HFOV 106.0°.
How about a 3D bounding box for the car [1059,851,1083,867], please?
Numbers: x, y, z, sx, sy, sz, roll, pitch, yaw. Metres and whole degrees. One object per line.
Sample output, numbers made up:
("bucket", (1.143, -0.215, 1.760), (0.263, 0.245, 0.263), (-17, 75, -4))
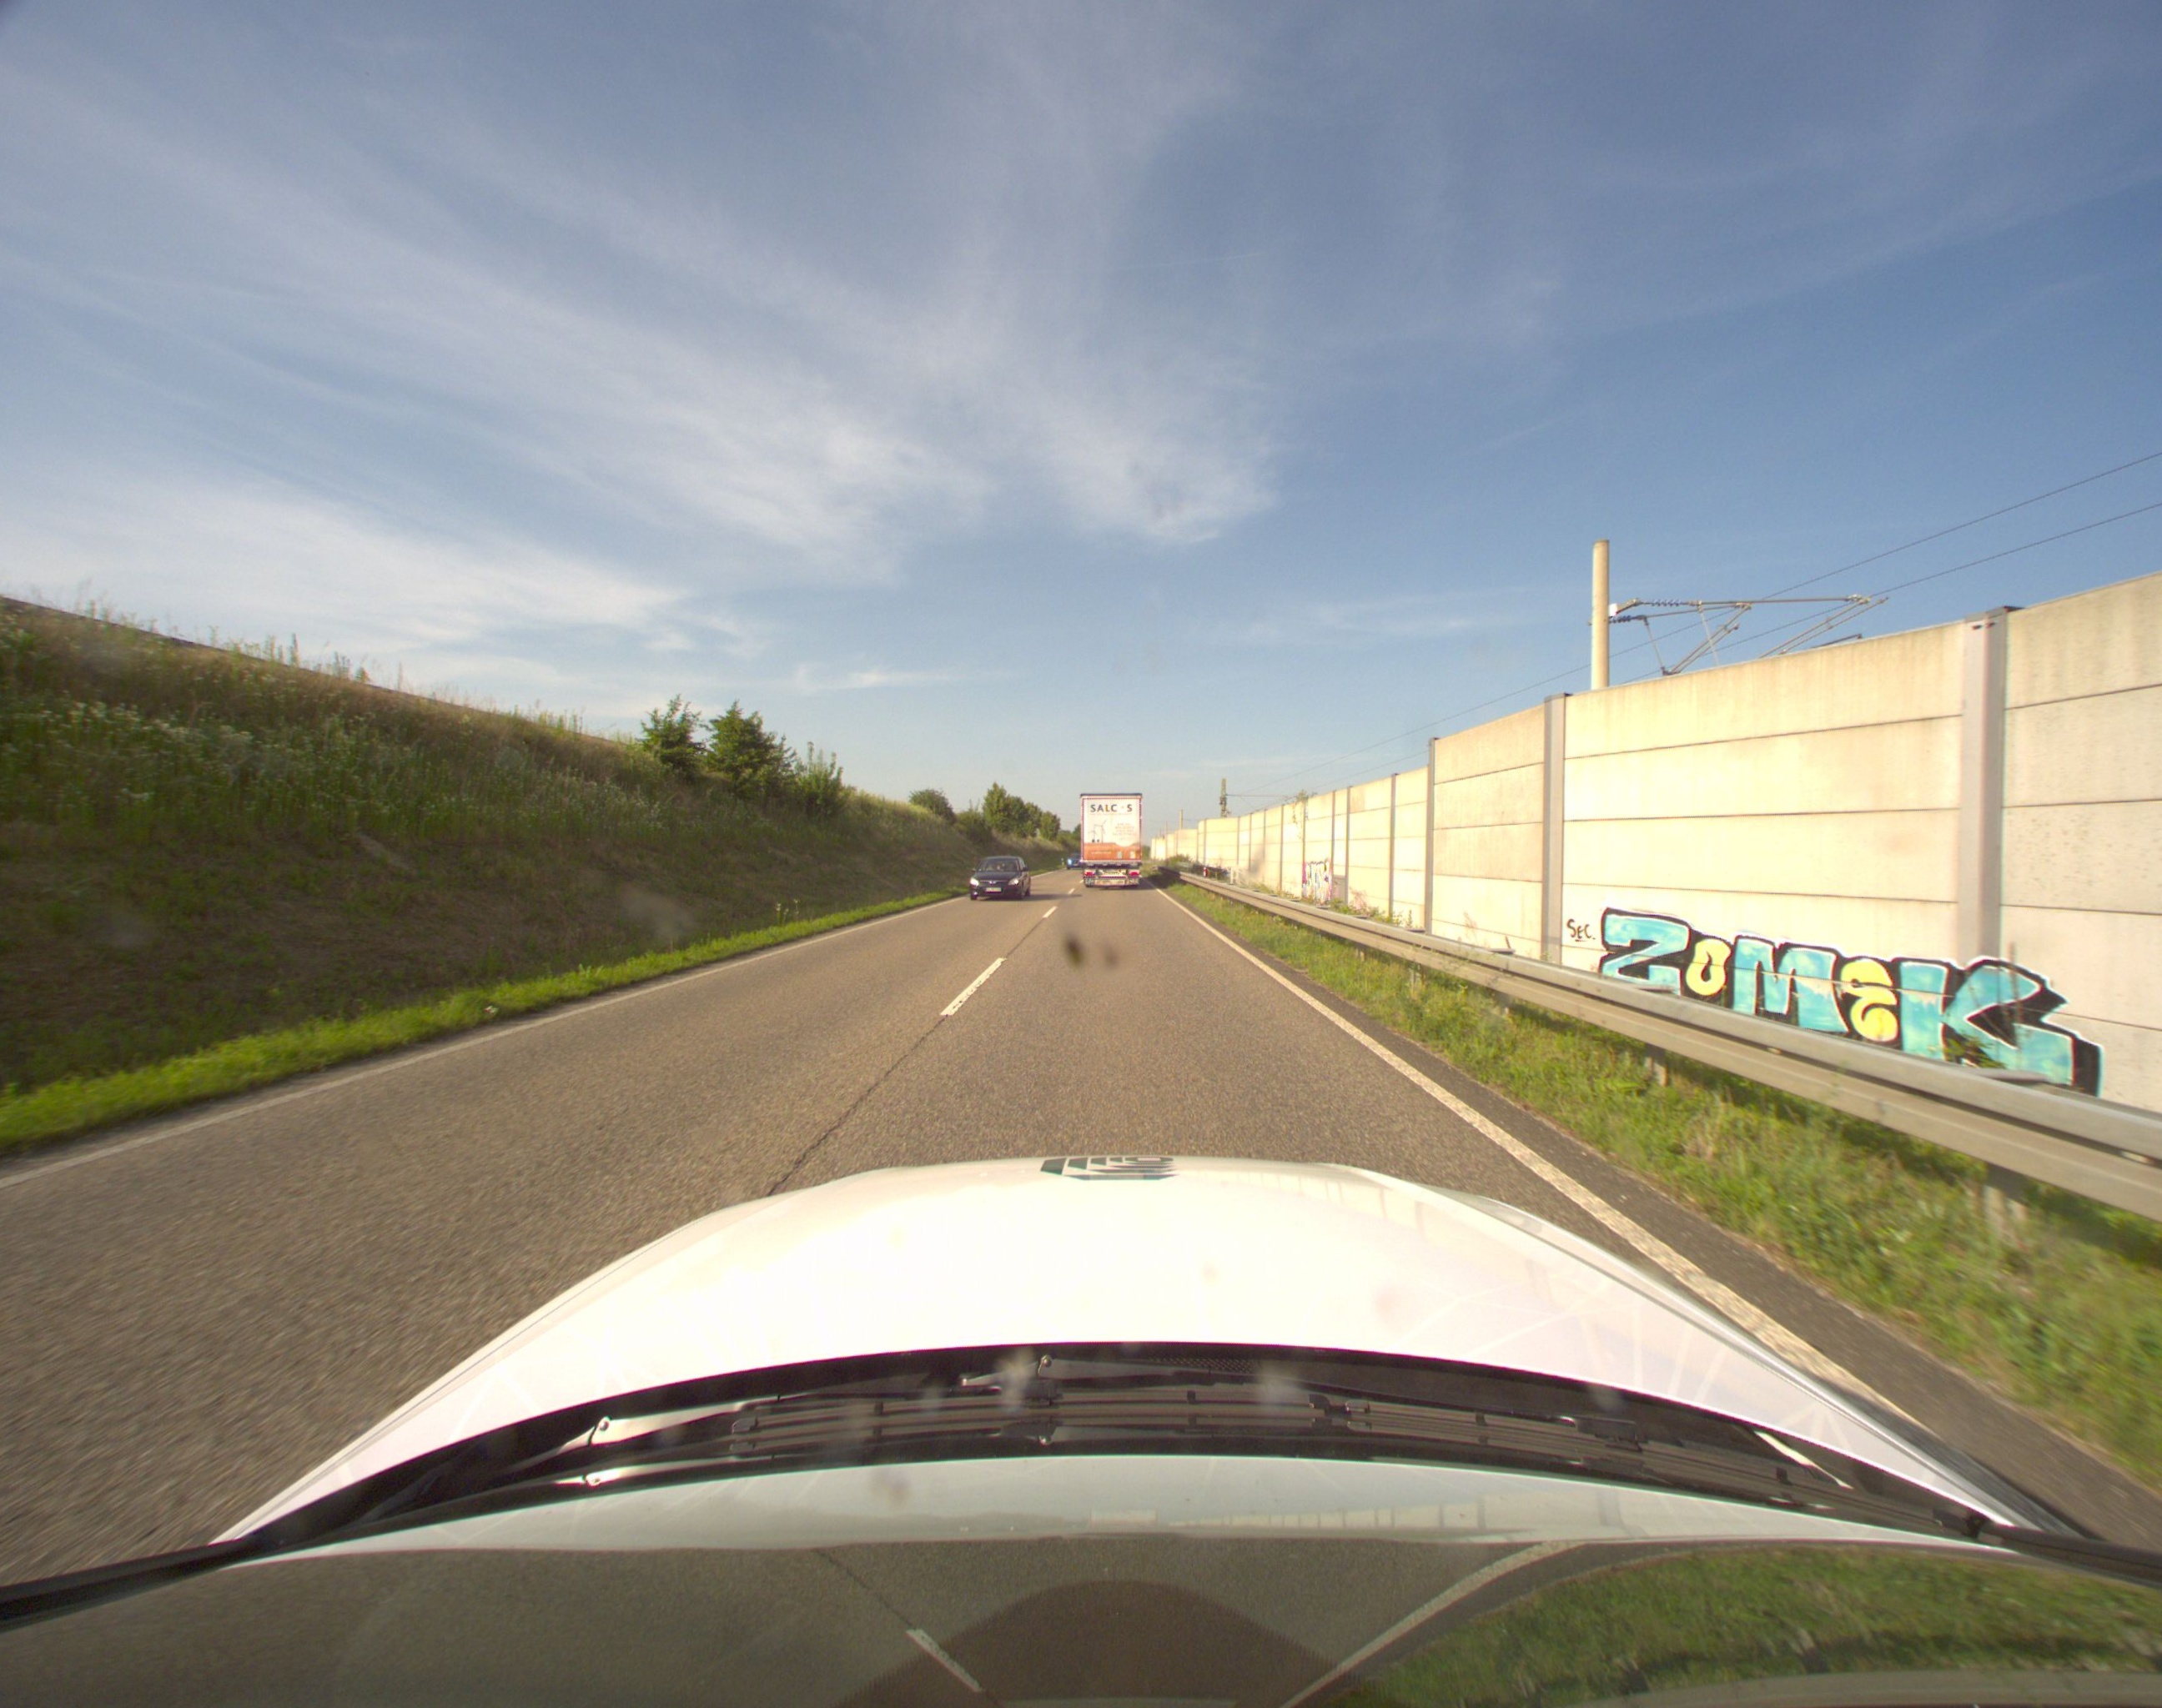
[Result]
("car", (-0.923, 0.478, 81.418), (2.132, 1.573, 5.342), (-1, 0, 2))

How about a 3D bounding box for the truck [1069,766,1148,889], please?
("truck", (1.387, -1.110, 39.939), (3.278, 5.090, 12.044), (0, 0, 2))

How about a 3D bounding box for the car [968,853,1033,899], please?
("car", (-2.730, 0.719, 28.485), (1.710, 1.453, 4.021), (-1, 0, 2))
